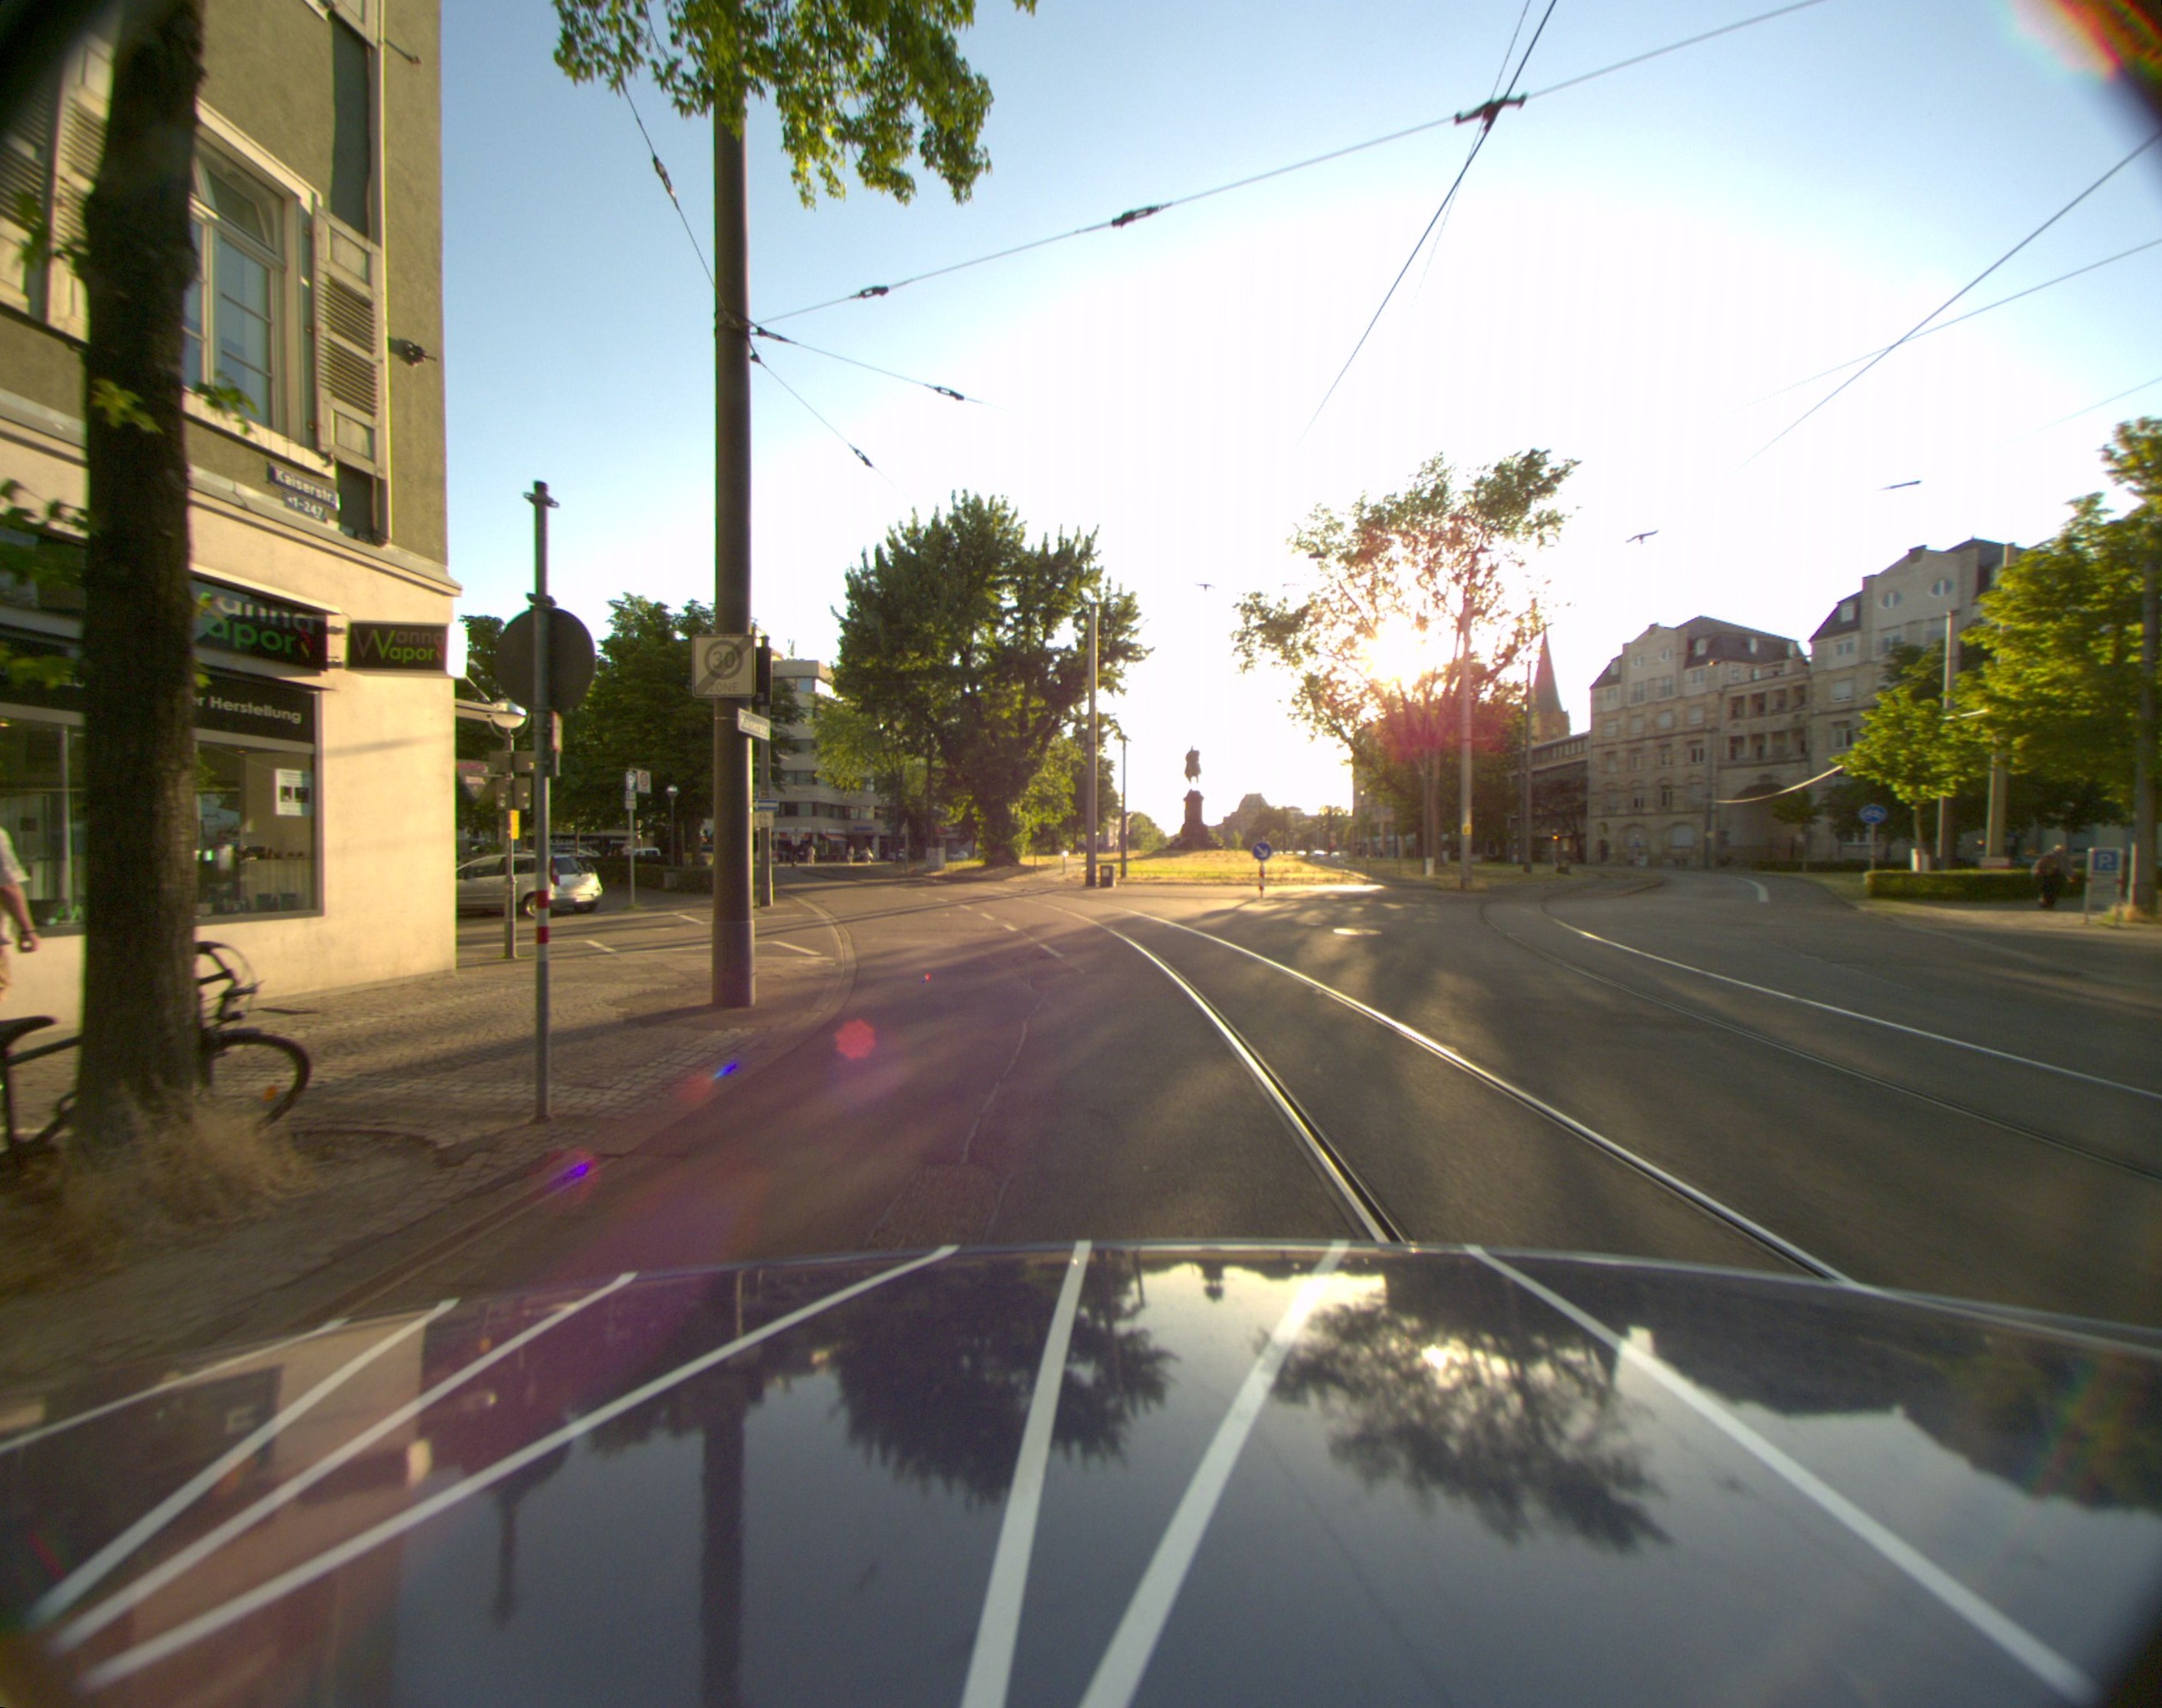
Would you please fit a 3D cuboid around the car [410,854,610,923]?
[{"bbox_3d":[-13.581,0.777,18.201,3.573,1.505,1.739,1,1,5],"label":"car"}]

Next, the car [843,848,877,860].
[{"bbox_3d":[-28.077,-0.022,96.525,1.790,1.434,4.008,0,1,31],"label":"car"}]

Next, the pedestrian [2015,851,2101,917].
[{"bbox_3d":[26.198,0.773,20.401,0.905,1.693,1.165,1,1,23],"label":"pedestrian"}]

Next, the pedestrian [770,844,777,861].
[{"bbox_3d":[-35.456,-0.194,87.687,0.605,1.827,0.572,4,1,-27],"label":"pedestrian"}]

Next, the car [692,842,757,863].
[{"bbox_3d":[-30.822,-0.141,65.784,4.708,1.761,1.999,0,1,-2],"label":"car"}]

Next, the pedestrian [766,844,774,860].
[{"bbox_3d":[-36.064,-0.260,88.104,0.618,1.827,0.538,6,2,36],"label":"pedestrian"}]

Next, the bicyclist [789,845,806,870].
[{"bbox_3d":[-22.806,0.268,61.175,0.926,1.962,1.110,-1,1,-39],"label":"bicyclist"}]

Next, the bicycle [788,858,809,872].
[{"bbox_3d":[-22.727,0.890,61.106,0.938,1.070,2.215,-1,1,-39],"label":"bicycle"}]

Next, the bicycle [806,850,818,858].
[{"bbox_3d":[-33.425,0.016,94.455,1.448,0.987,0.530,2,2,-21],"label":"bicycle"}]

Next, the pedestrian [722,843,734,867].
[{"bbox_3d":[-26.113,0.055,56.173,0.589,1.733,0.643,1,0,-5],"label":"pedestrian"}]

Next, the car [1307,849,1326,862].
[{"bbox_3d":[39.528,0.211,127.365,1.998,2.002,4.549,0,1,3],"label":"car"}]

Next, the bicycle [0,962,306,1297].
[{"bbox_3d":[-4.154,1.096,3.008,0.355,1.070,1.699,0,1,2],"label":"bicycle"}]

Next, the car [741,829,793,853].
[{"bbox_3d":[-38.287,-1.568,92.642,5.429,2.711,2.182,2,1,3],"label":"car"}]

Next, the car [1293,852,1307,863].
[{"bbox_3d":[43.960,0.708,152.604,1.997,2.002,4.002,1,1,8],"label":"car"}]

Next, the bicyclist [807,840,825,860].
[{"bbox_3d":[-25.909,-0.388,74.292,1.235,1.980,1.367,0,1,1],"label":"bicyclist"}]

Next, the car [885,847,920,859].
[{"bbox_3d":[-24.146,-0.207,103.134,1.994,1.596,4.532,0,1,32],"label":"car"}]

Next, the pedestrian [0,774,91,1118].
[{"bbox_3d":[-6.705,0.534,4.371,0.843,2.002,0.846,0,2,0],"label":"pedestrian"}]

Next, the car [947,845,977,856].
[{"bbox_3d":[-17.914,-0.555,114.229,1.994,1.596,4.532,0,1,32],"label":"car"}]

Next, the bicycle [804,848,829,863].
[{"bbox_3d":[-25.932,0.122,74.575,1.272,1.353,3.240,0,1,1],"label":"bicycle"}]

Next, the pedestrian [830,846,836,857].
[{"bbox_3d":[-32.554,-0.328,99.906,0.611,1.313,0.591,1,1,-3],"label":"pedestrian"}]
